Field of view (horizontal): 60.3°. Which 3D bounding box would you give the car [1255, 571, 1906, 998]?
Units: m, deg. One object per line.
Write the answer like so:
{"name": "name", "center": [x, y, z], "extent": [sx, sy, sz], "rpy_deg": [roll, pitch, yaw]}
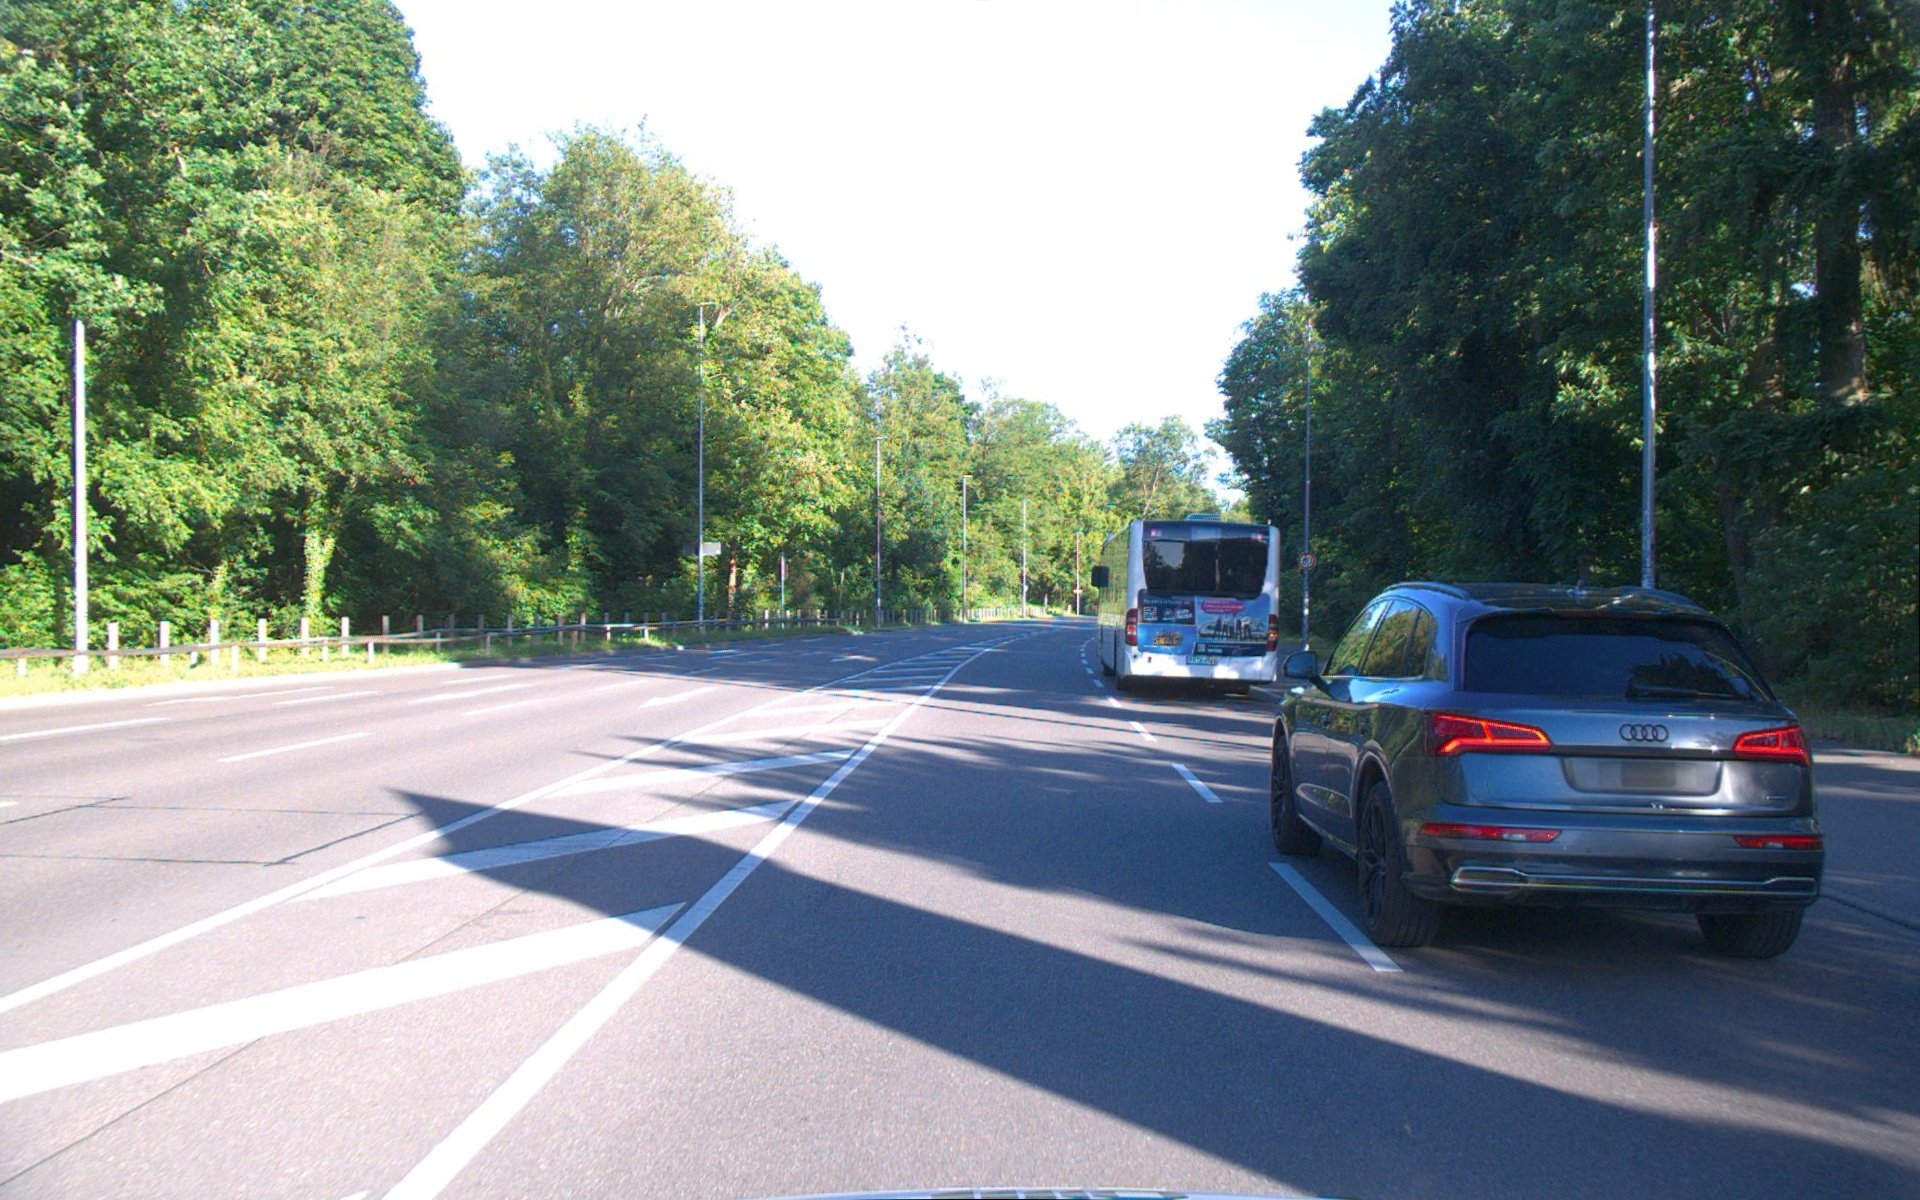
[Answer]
{"name": "car", "center": [2.863, 0.747, 8.825], "extent": [1.854, 1.633, 4.545], "rpy_deg": [2, -1, 2]}

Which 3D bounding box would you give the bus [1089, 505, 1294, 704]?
{"name": "bus", "center": [4.166, 0.088, 32.399], "extent": [2.634, 3.096, 12.043], "rpy_deg": [1, 0, 2]}
